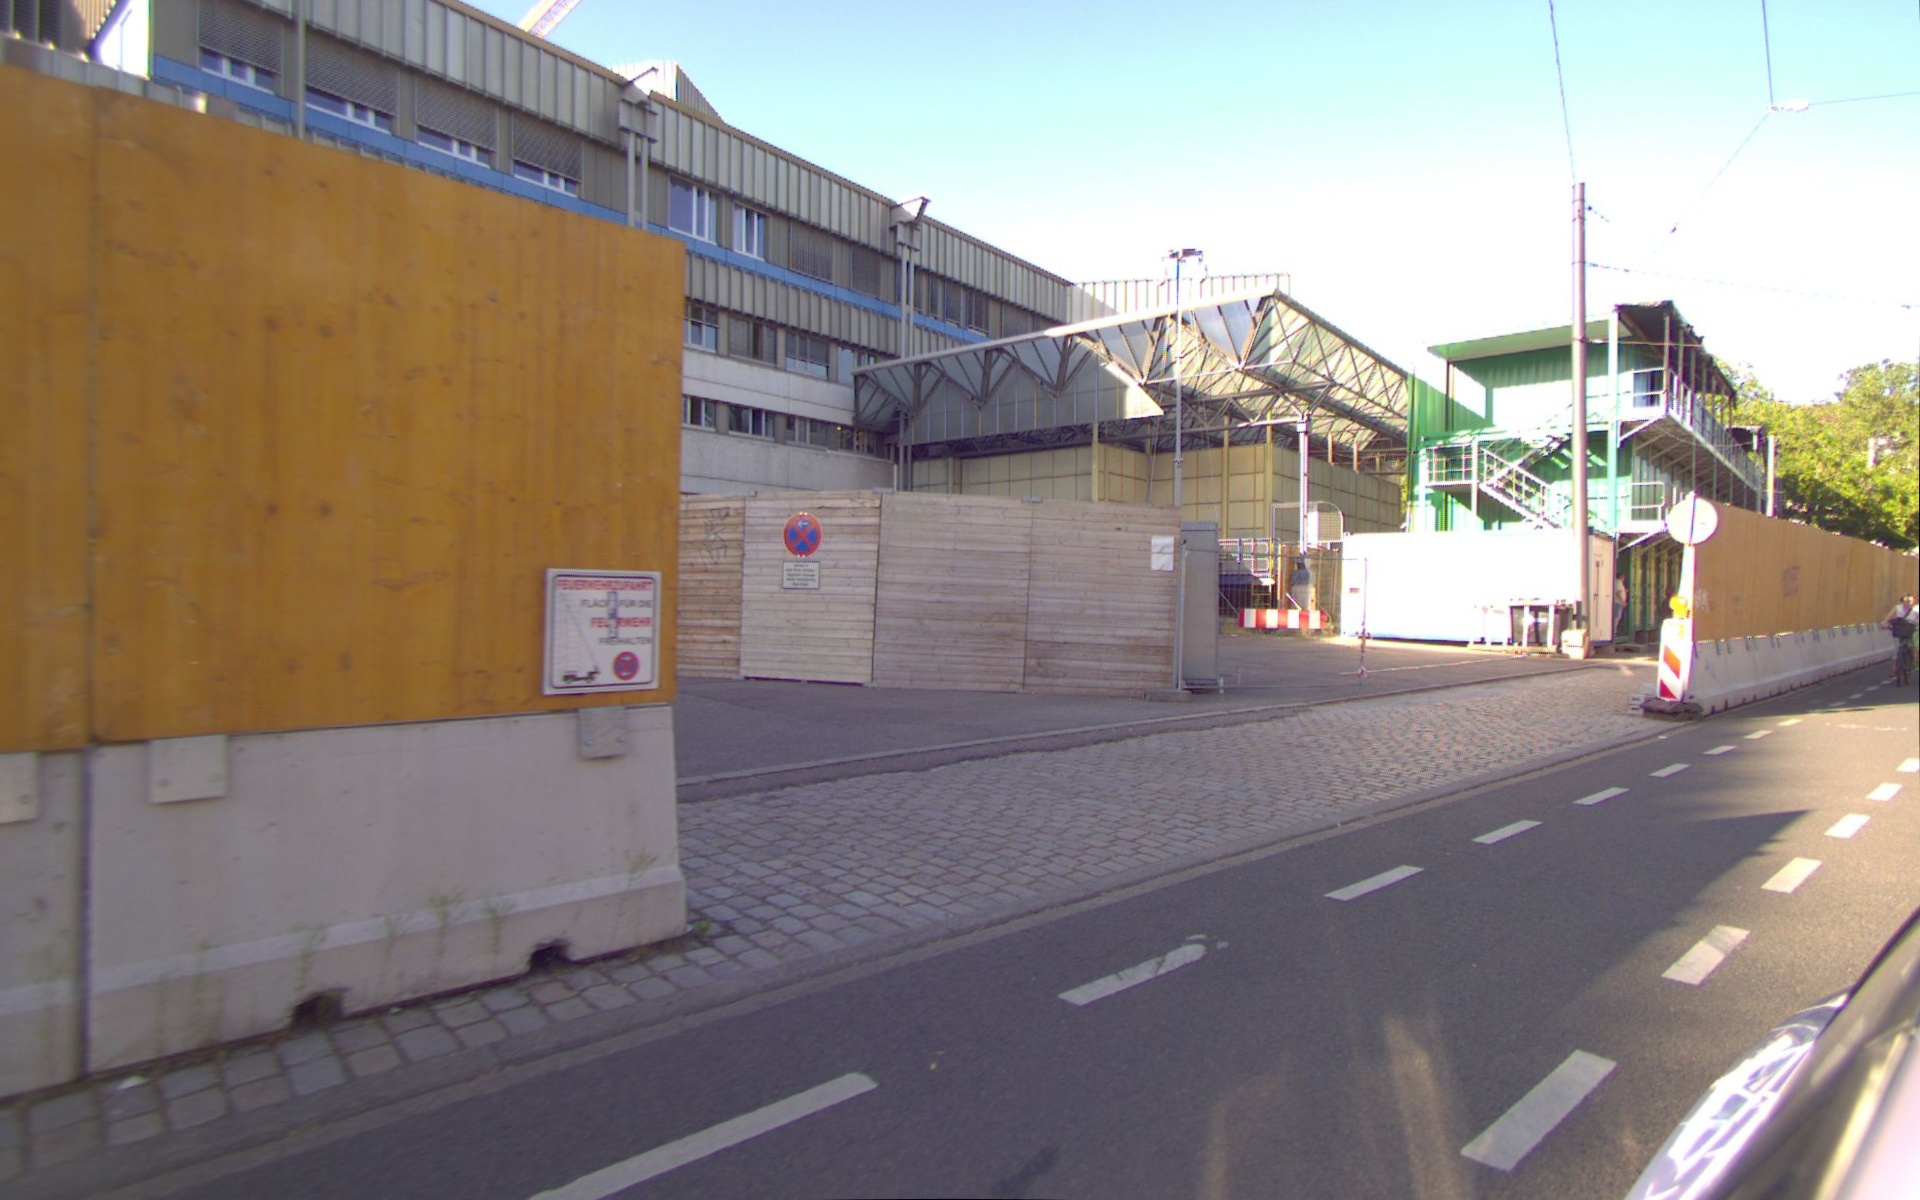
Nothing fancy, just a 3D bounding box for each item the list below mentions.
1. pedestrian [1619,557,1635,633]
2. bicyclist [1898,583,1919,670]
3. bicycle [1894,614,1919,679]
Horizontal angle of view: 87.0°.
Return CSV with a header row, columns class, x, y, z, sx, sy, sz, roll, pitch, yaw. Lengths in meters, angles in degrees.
class,x,y,z,sx,sy,sz,roll,pitch,yaw
pedestrian,18.197,-0.142,27.620,0.306,2.071,0.347,0,0,43
bicyclist,18.134,0.495,19.108,0.567,1.633,0.557,0,1,-43
bicycle,18.260,0.853,19.219,2.237,1.141,0.558,0,0,-42
